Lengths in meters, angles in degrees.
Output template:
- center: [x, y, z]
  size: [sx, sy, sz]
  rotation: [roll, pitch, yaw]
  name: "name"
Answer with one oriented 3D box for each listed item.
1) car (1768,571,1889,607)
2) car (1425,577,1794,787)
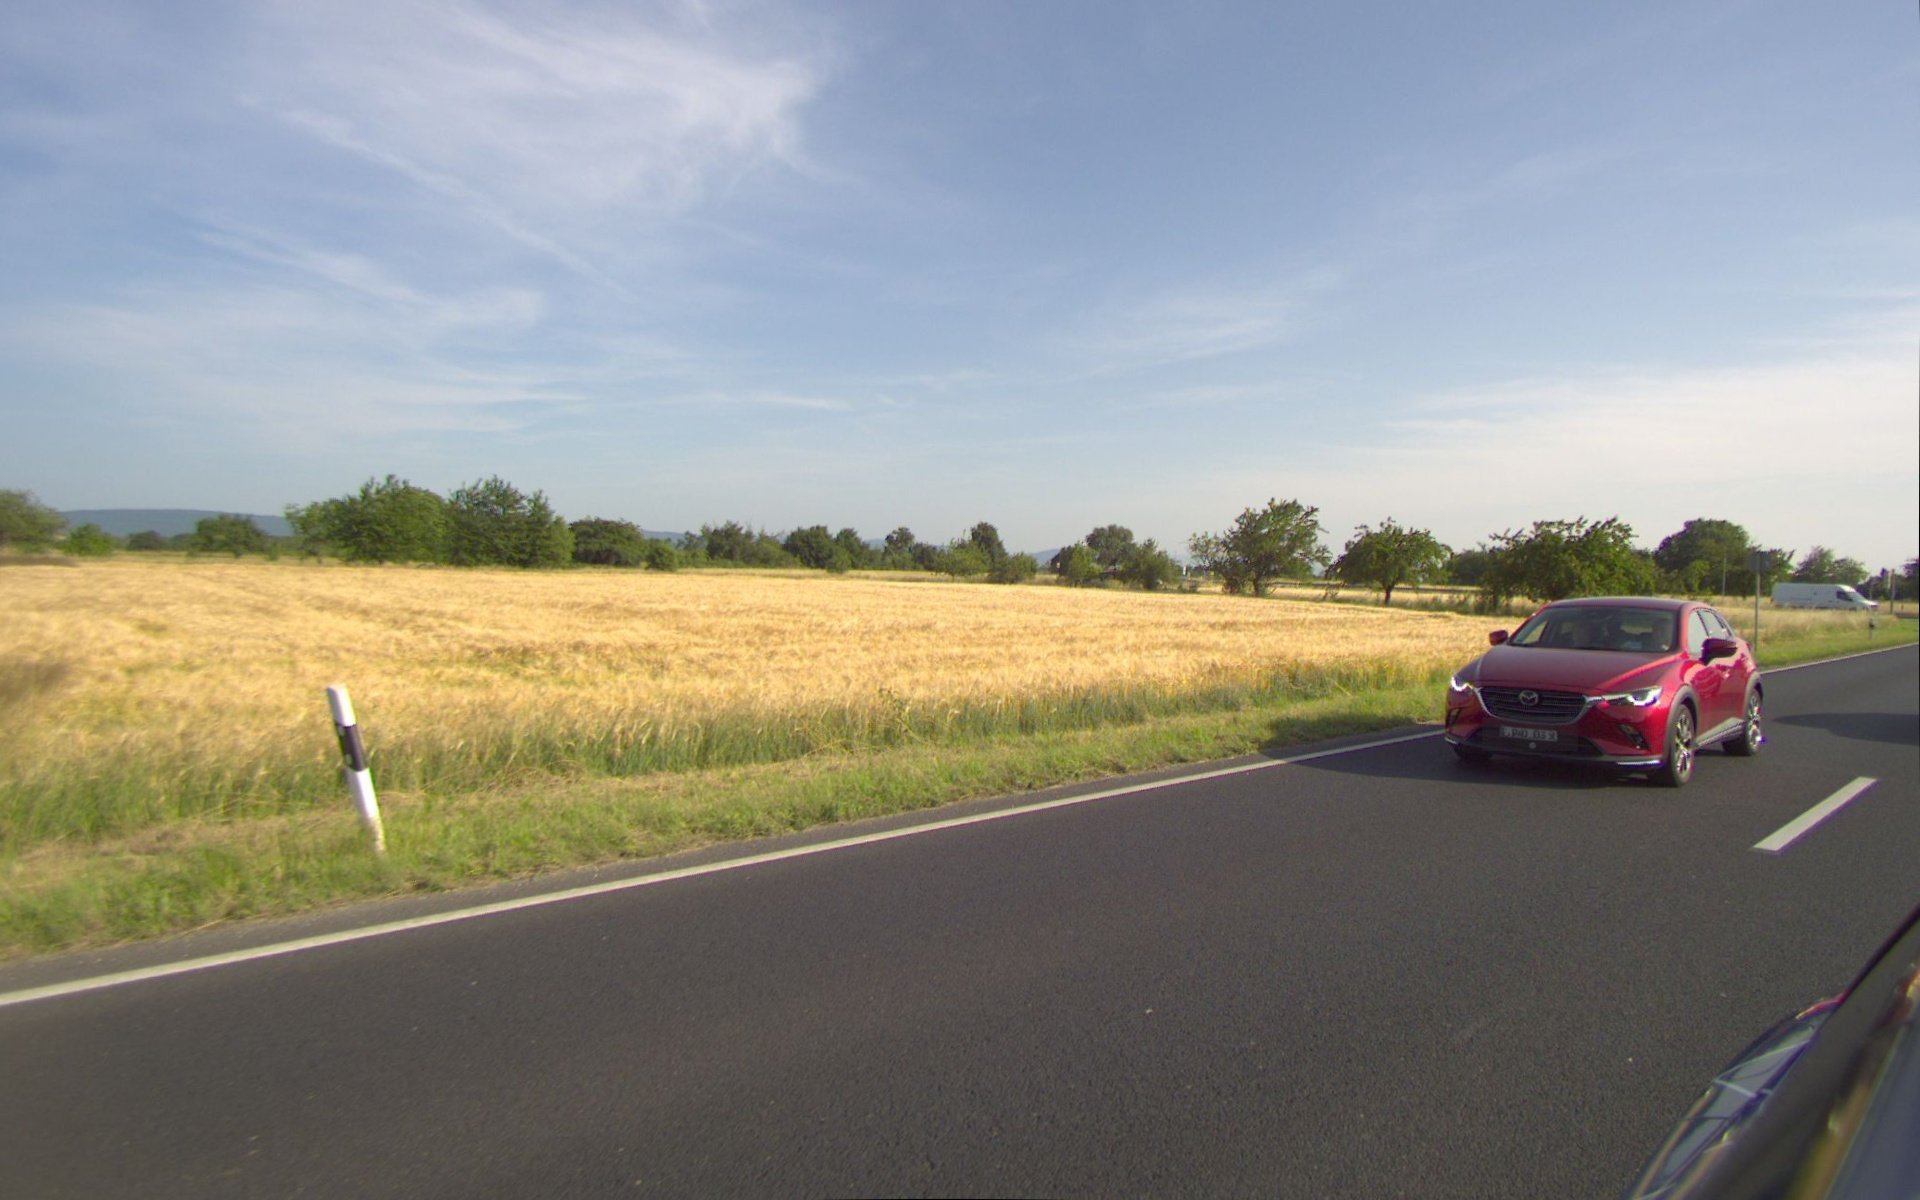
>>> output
- center: [70.536, -0.932, 82.384]
  size: [2.049, 2.701, 7.230]
  rotation: [0, 2, -26]
  name: "car"
- center: [6.214, 0.558, 9.459]
  size: [4.422, 1.524, 1.707]
  rotation: [-1, 1, -41]
  name: "car"
